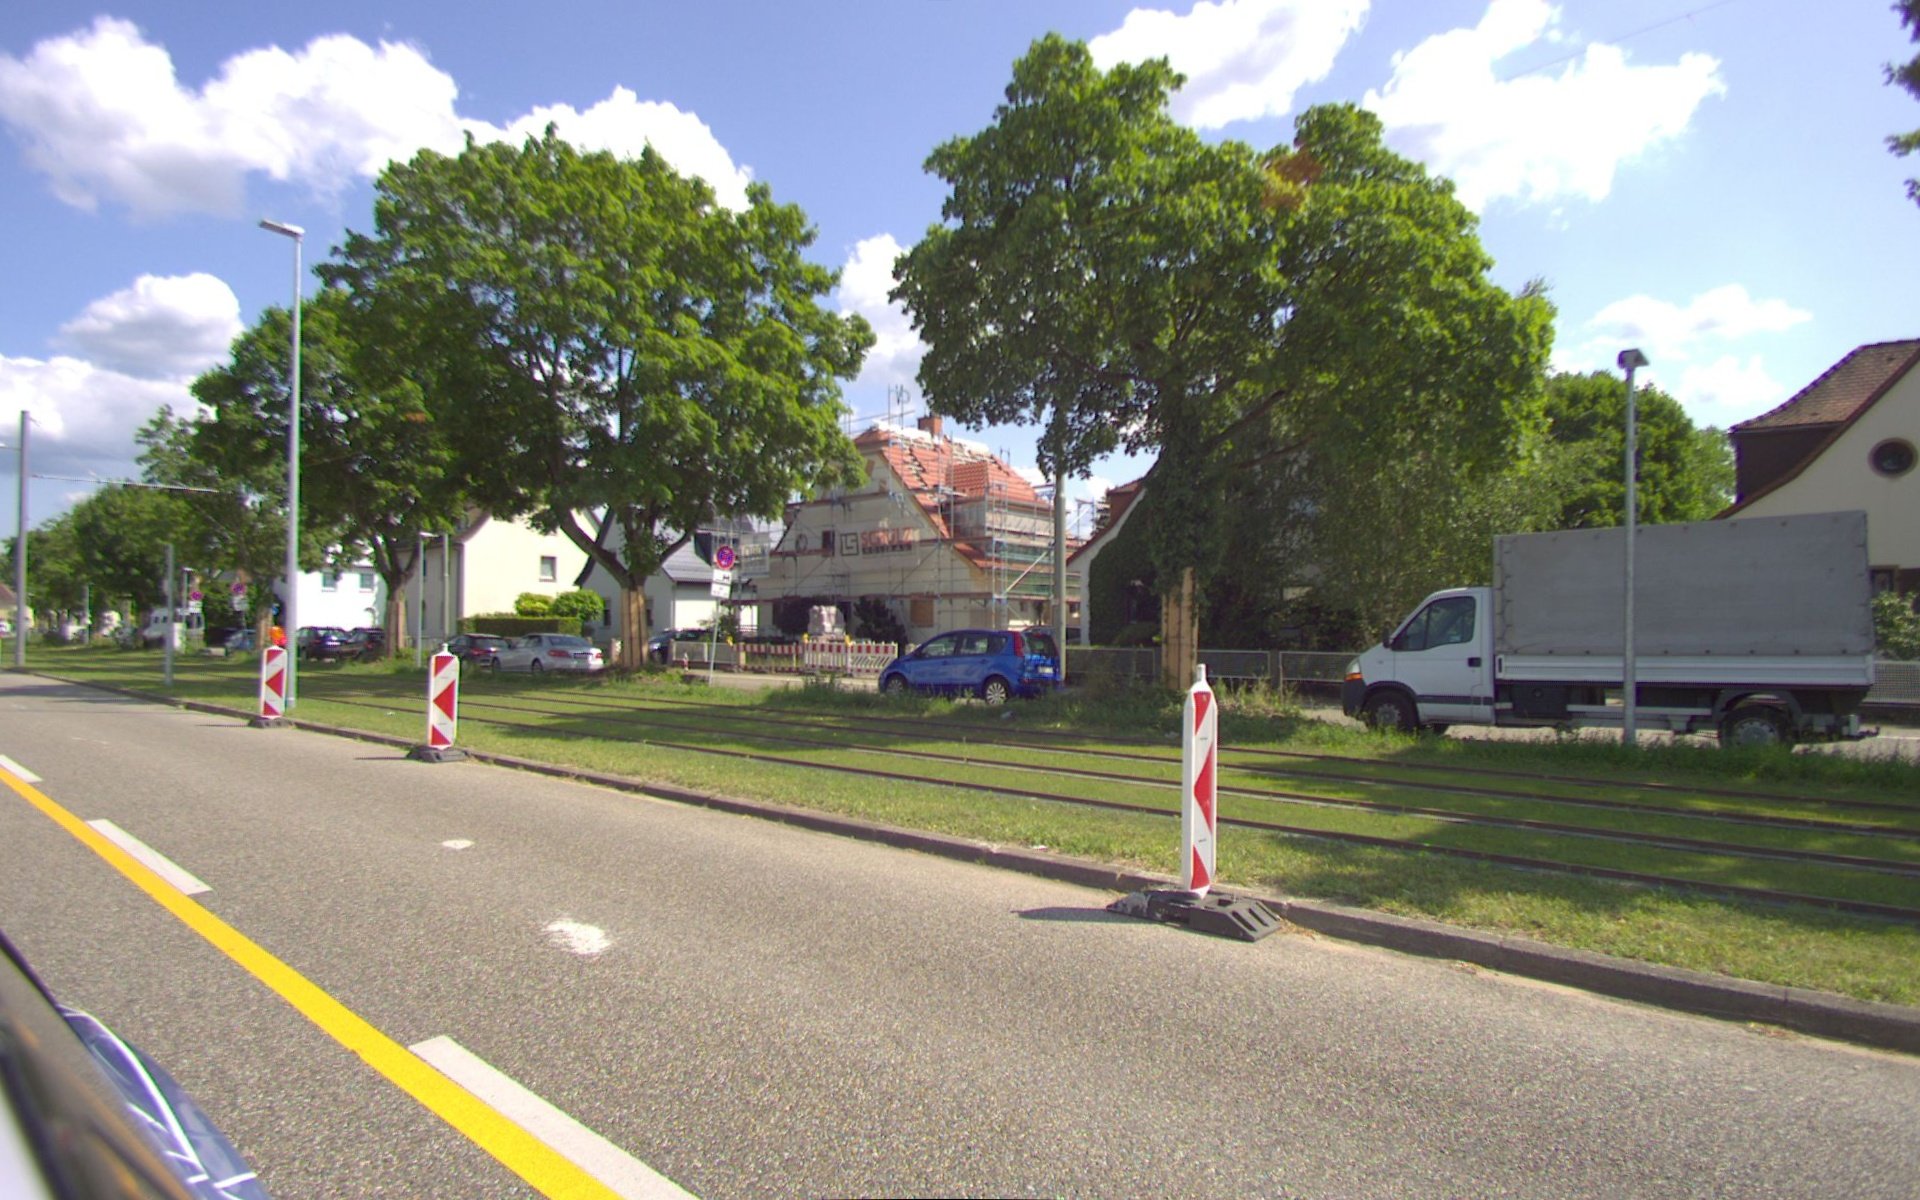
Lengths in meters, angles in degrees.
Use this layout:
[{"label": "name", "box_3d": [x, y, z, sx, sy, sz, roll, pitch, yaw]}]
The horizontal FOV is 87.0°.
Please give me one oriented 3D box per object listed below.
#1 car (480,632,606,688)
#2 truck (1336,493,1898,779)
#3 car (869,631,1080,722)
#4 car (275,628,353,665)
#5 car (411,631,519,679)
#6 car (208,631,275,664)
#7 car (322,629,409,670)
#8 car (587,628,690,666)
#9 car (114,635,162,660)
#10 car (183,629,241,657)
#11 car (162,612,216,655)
[{"label": "car", "box_3d": [-13.175, 1.829, 31.860, 4.603, 1.623, 1.733, -2, -3, 40]}, {"label": "truck", "box_3d": [8.274, 0.465, 13.356, 5.871, 3.010, 1.982, -2, -3, 41]}, {"label": "car", "box_3d": [0.218, 1.443, 20.194, 4.047, 1.623, 1.733, -2, -3, 40]}, {"label": "car", "box_3d": [-29.605, 2.097, 46.329, 4.603, 1.623, 1.733, -2, -3, 40]}, {"label": "car", "box_3d": [-17.616, 1.913, 35.930, 4.603, 1.623, 1.733, -2, -3, 40]}, {"label": "car", "box_3d": [-37.647, 2.466, 52.977, 4.603, 1.623, 1.733, -2, -3, 40]}, {"label": "car", "box_3d": [-25.185, 2.072, 42.826, 4.603, 1.623, 1.733, -2, -3, 40]}, {"label": "car", "box_3d": [-14.085, 2.046, 44.507, 1.756, 1.623, 3.995, -2, -3, 41]}, {"label": "car", "box_3d": [-57.026, 3.265, 70.147, 4.603, 1.623, 1.733, -2, -3, 40]}, {"label": "car", "box_3d": [-44.648, 2.551, 60.402, 4.603, 1.623, 1.733, -2, -3, 40]}, {"label": "car", "box_3d": [-48.832, 2.104, 64.092, 4.603, 2.636, 1.733, -2, -3, 40]}]
